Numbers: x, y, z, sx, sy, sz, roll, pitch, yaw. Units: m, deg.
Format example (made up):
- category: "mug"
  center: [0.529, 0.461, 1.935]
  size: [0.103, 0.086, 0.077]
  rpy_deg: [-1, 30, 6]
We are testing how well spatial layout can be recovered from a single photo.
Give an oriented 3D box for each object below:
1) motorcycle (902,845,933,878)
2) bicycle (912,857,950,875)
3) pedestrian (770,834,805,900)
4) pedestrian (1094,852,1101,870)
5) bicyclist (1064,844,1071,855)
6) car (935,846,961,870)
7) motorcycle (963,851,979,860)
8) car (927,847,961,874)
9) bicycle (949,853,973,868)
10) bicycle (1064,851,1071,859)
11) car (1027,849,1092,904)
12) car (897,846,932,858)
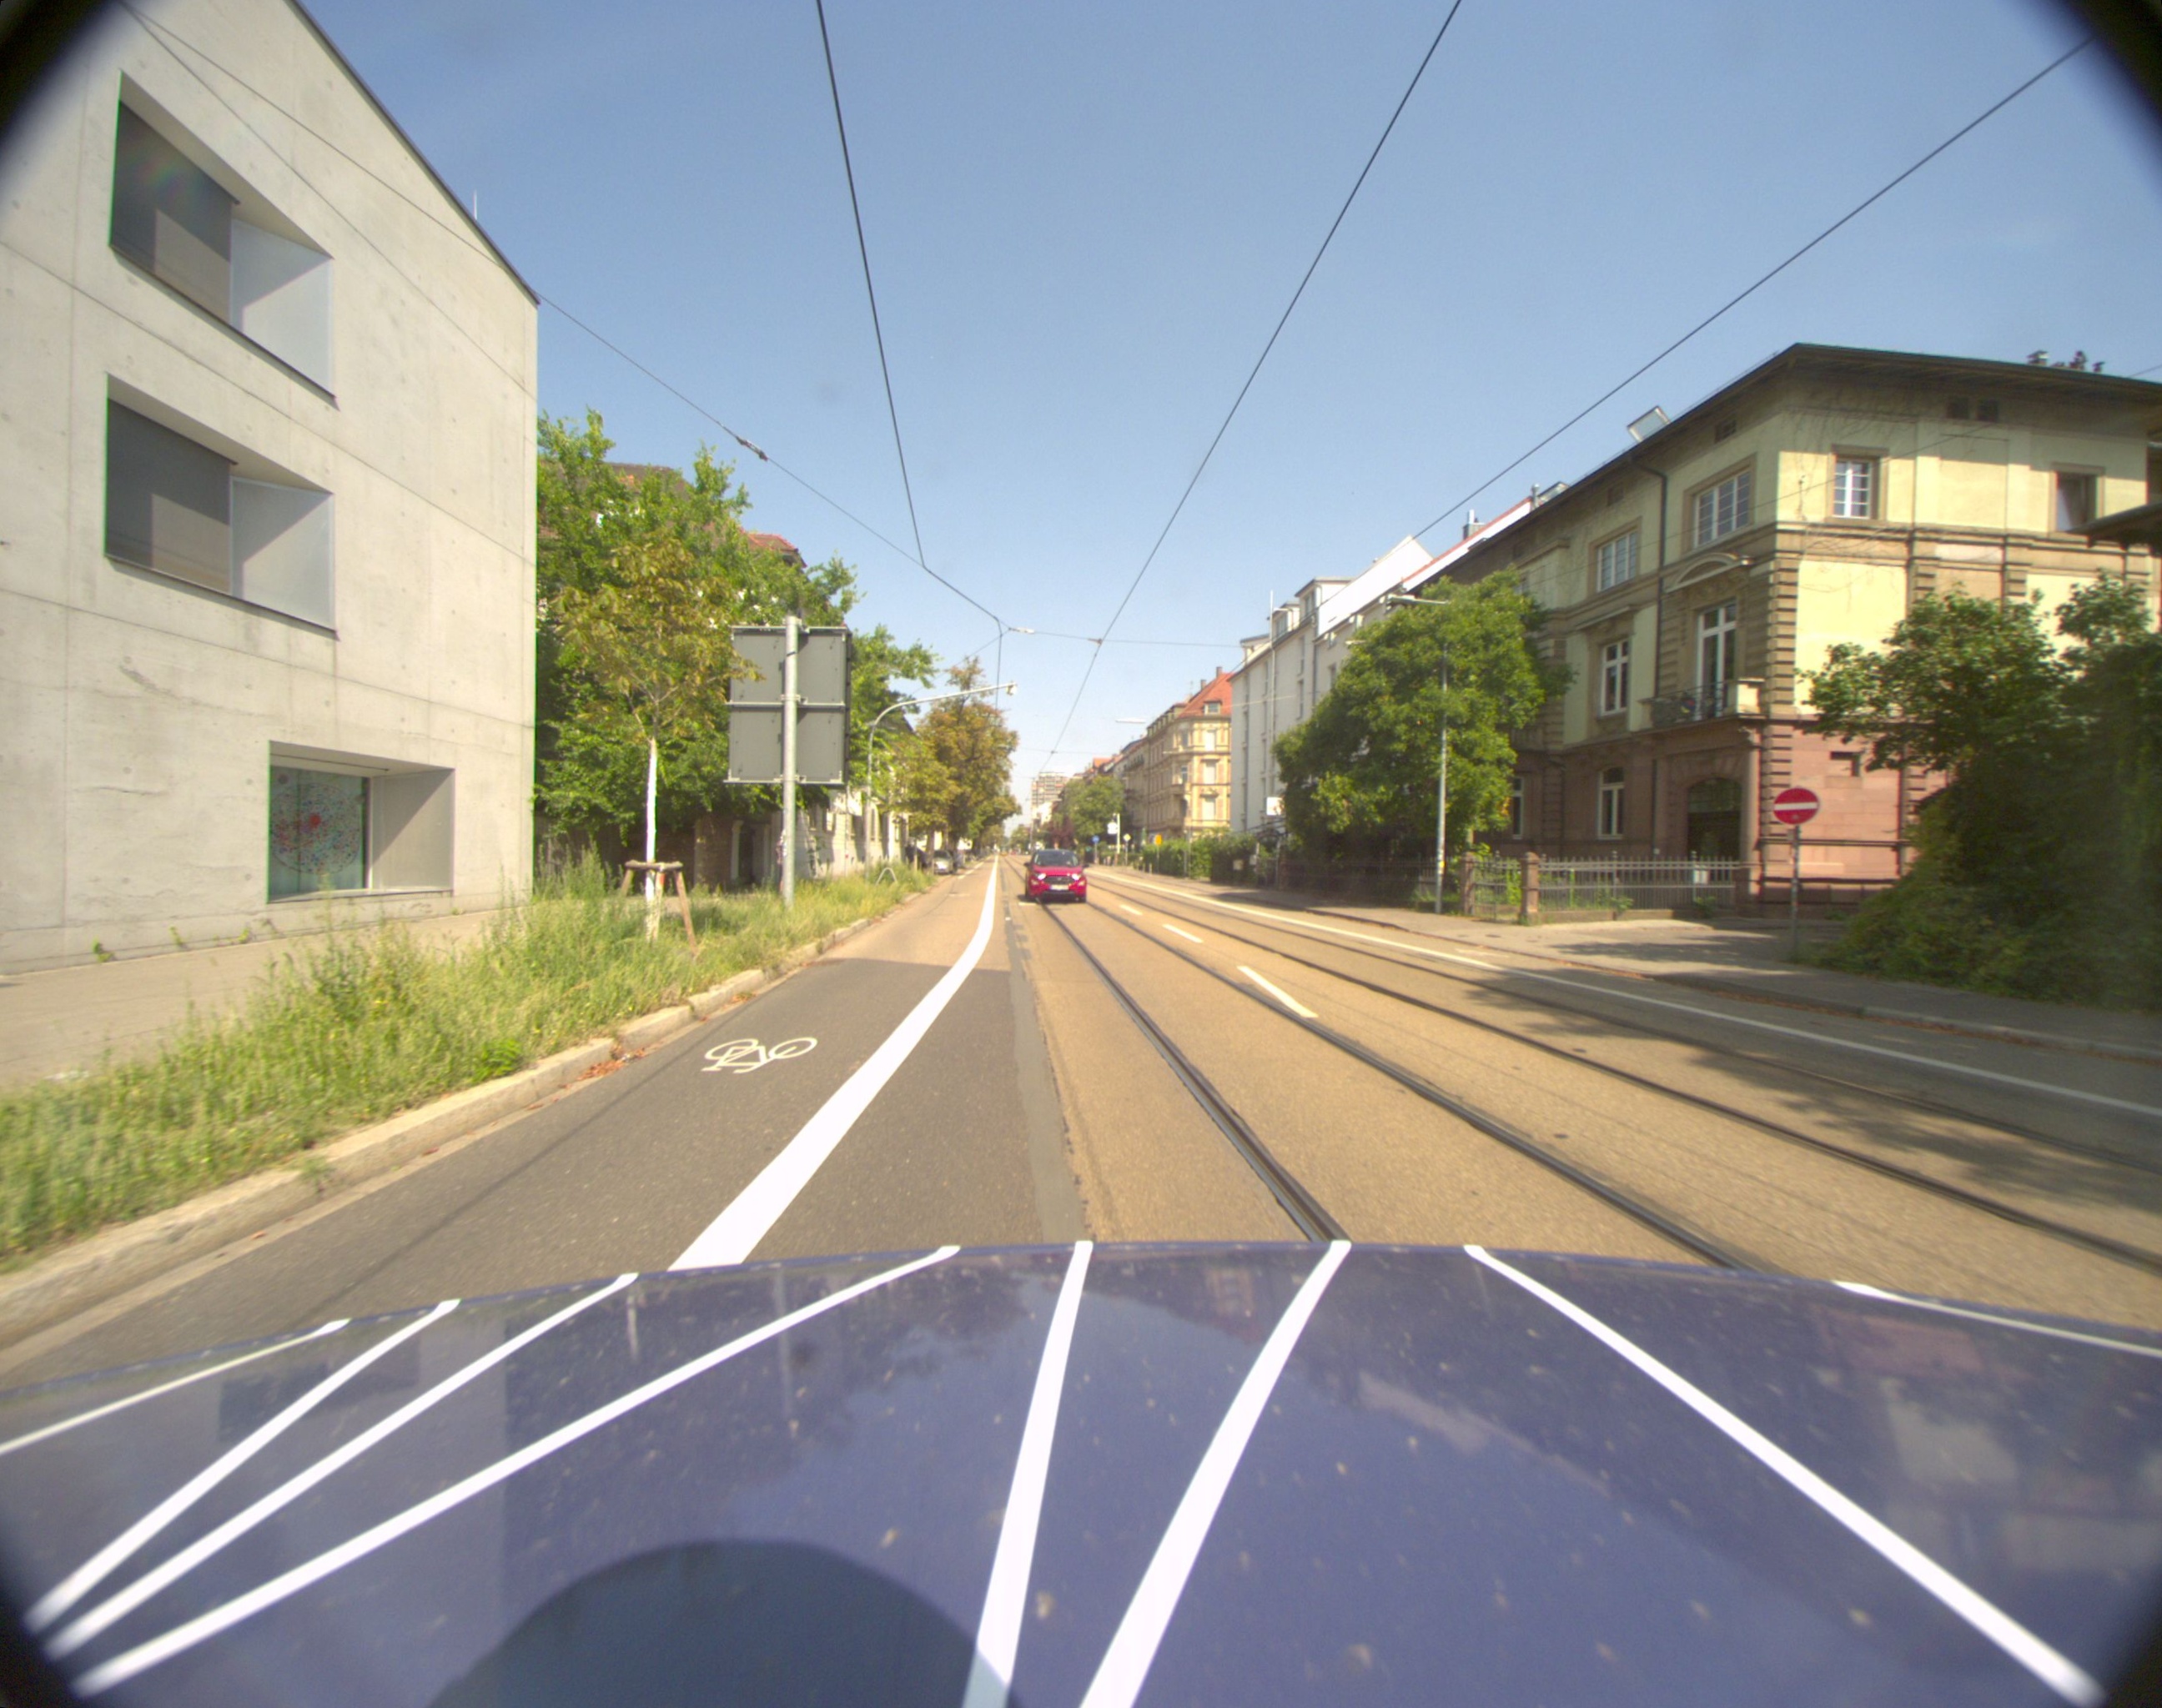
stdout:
- category: "motorcycle"
  center: [-8.185, 0.349, 38.134]
  size: [0.888, 1.544, 2.412]
  rpy_deg: [2, 1, 2]
- category: "bicycle"
  center: [-8.241, 0.655, 41.755]
  size: [1.928, 0.947, 0.720]
  rpy_deg: [1, 1, -3]
- category: "pedestrian"
  center: [-7.838, 0.347, 20.293]
  size: [0.694, 1.722, 0.579]
  rpy_deg: [1, 1, -4]
- category: "pedestrian"
  center: [1.887, 0.771, 86.648]
  size: [0.657, 2.002, 0.973]
  rpy_deg: [1, 1, -8]
- category: "bicyclist"
  center: [-1.713, -0.574, 95.416]
  size: [0.657, 1.420, 0.973]
  rpy_deg: [1, 0, -8]
- category: "car"
  center: [-9.282, 0.253, 52.930]
  size: [1.669, 1.498, 4.430]
  rpy_deg: [2, 0, -10]
- category: "motorcycle"
  center: [-14.816, 0.213, 102.573]
  size: [2.001, 1.009, 0.796]
  rpy_deg: [4, 0, -6]
- category: "car"
  center: [-8.056, 0.336, 45.063]
  size: [1.788, 1.442, 4.747]
  rpy_deg: [2, 0, -8]
- category: "bicycle"
  center: [-9.101, 0.500, 57.597]
  size: [1.760, 1.116, 0.655]
  rpy_deg: [1, 1, -7]
- category: "bicycle"
  center: [-1.705, 0.107, 95.378]
  size: [0.642, 1.070, 1.914]
  rpy_deg: [2, 0, -8]
- category: "car"
  center: [-0.752, 0.640, 23.612]
  size: [1.816, 1.542, 4.019]
  rpy_deg: [1, 0, -5]
- category: "car"
  center: [-21.665, -0.242, 98.953]
  size: [3.991, 1.435, 1.978]
  rpy_deg: [1, 0, 17]
